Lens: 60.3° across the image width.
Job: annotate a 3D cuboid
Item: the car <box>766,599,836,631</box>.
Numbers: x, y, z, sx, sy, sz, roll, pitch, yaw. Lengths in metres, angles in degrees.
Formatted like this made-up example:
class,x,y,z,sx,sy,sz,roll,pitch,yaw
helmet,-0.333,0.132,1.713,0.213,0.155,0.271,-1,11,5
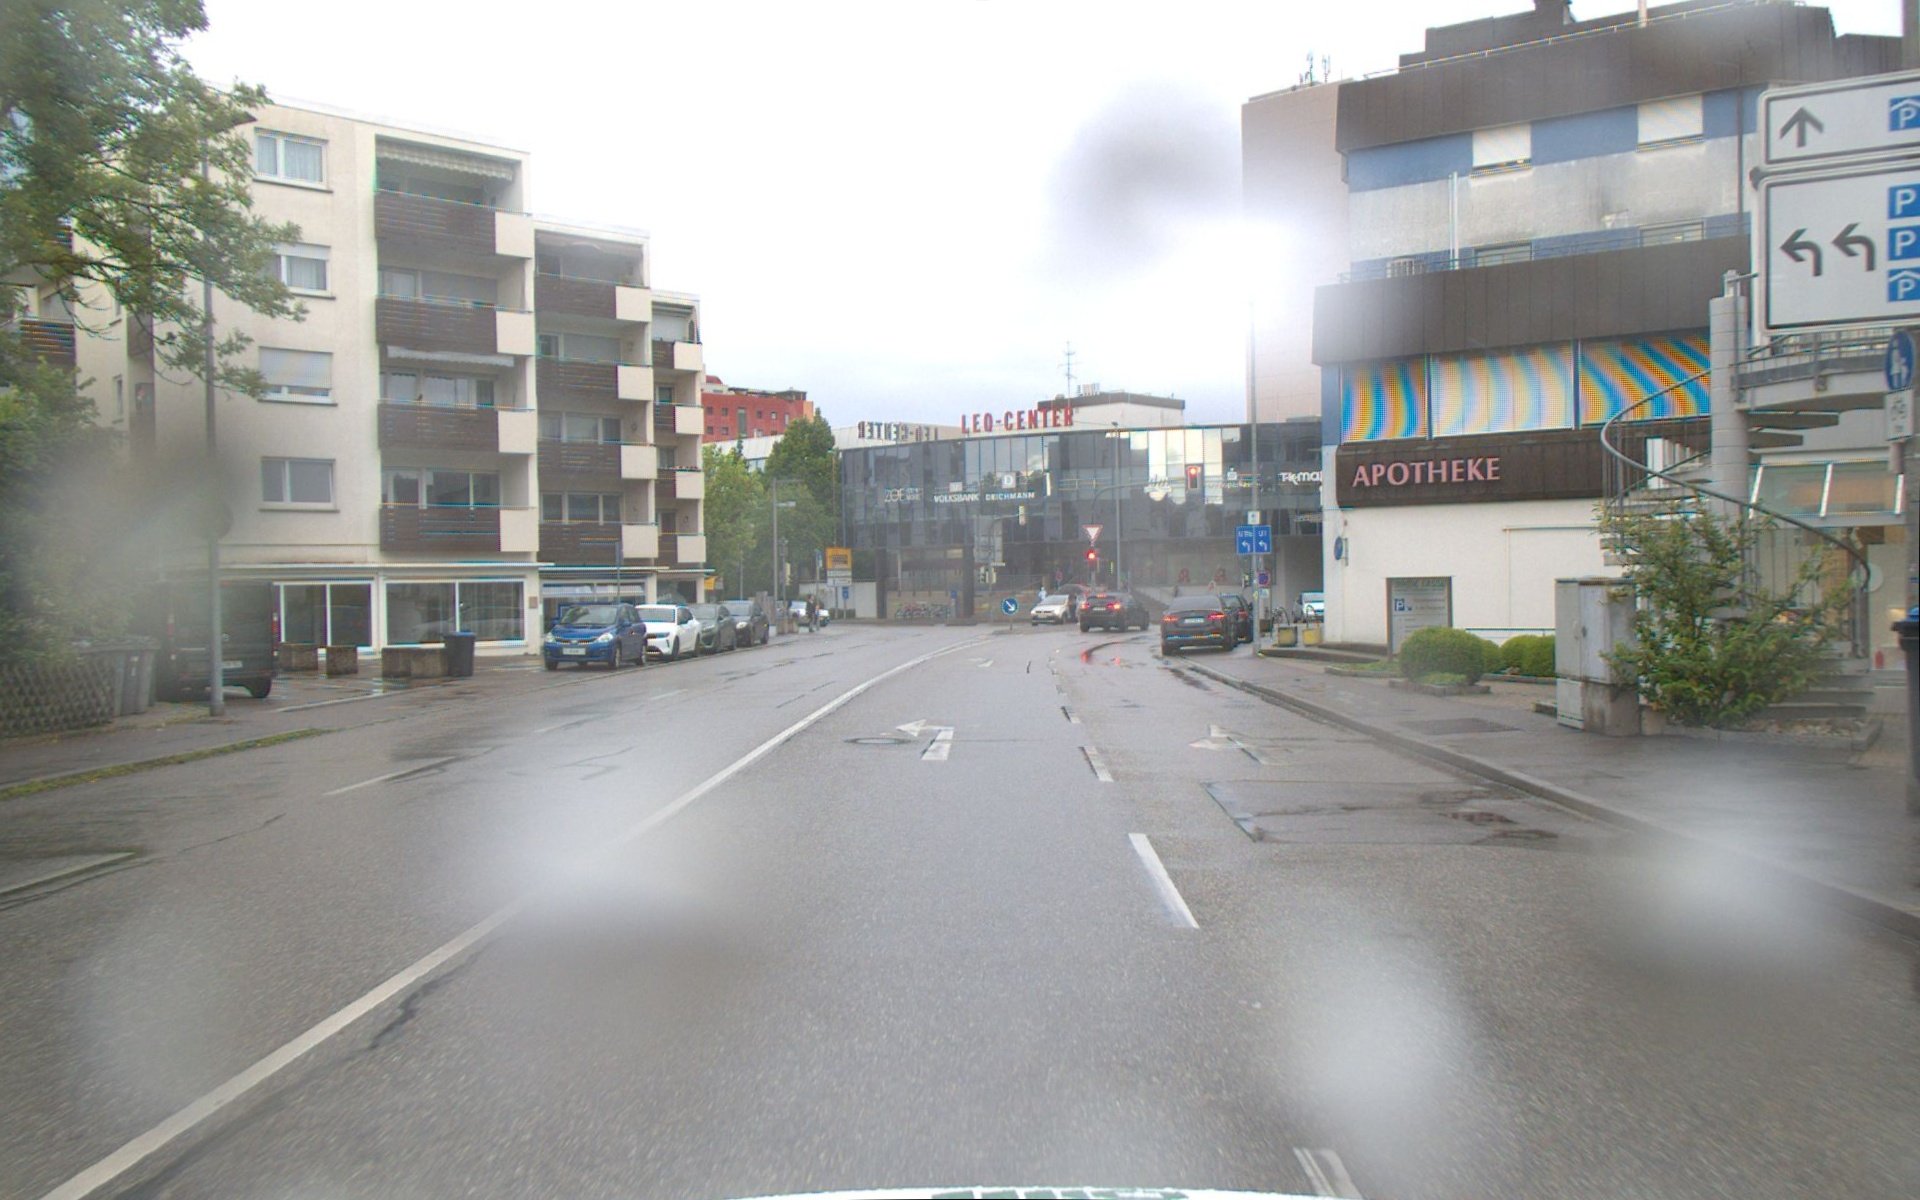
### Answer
class,x,y,z,sx,sy,sz,roll,pitch,yaw
car,-8.833,0.821,91.543,1.976,1.538,4.382,2,2,-34

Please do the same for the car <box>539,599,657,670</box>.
class,x,y,z,sx,sy,sz,roll,pitch,yaw
car,-8.511,0.774,39.218,1.617,1.547,4.326,-1,0,3

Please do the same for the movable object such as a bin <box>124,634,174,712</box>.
class,x,y,z,sx,sy,sz,roll,pitch,yaw
movable object such as a bin,-12.269,1.095,25.020,0.594,1.138,0.594,-1,0,-33

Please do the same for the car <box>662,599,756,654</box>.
class,x,y,z,sx,sy,sz,roll,pitch,yaw
car,-7.579,0.766,50.334,1.894,1.568,4.523,-1,0,3

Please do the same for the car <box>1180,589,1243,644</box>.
class,x,y,z,sx,sy,sz,roll,pitch,yaw
car,7.959,0.487,52.043,1.662,1.512,4.004,-4,0,12

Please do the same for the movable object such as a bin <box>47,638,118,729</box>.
class,x,y,z,sx,sy,sz,roll,pitch,yaw
movable object such as a bin,-11.455,1.084,21.595,0.587,1.138,0.601,-1,0,0

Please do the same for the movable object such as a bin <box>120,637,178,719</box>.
class,x,y,z,sx,sy,sz,roll,pitch,yaw
movable object such as a bin,-11.798,1.124,24.065,0.588,1.138,0.600,-1,0,-10

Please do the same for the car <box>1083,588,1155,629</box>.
class,x,y,z,sx,sy,sz,roll,pitch,yaw
car,6.042,0.297,62.436,1.767,1.444,4.001,-1,0,19

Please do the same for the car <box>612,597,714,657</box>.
class,x,y,z,sx,sy,sz,roll,pitch,yaw
car,-8.005,0.687,44.980,1.658,1.489,4.686,-1,0,3

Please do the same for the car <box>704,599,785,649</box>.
class,x,y,z,sx,sy,sz,roll,pitch,yaw
car,-7.172,0.768,55.478,1.894,1.568,4.275,-1,0,3

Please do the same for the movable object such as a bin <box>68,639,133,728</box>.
class,x,y,z,sx,sy,sz,roll,pitch,yaw
movable object such as a bin,-11.528,1.114,22.202,0.588,1.138,0.600,-1,0,-10

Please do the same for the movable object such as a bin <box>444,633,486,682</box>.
class,x,y,z,sx,sy,sz,roll,pitch,yaw
movable object such as a bin,-10.445,1.205,34.935,0.634,0.982,0.683,-2,0,3

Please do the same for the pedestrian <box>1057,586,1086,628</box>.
class,x,y,z,sx,sy,sz,roll,pitch,yaw
pedestrian,4.705,0.285,69.623,0.897,1.688,0.750,2,1,-25

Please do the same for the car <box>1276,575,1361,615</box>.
class,x,y,z,sx,sy,sz,roll,pitch,yaw
car,18.612,-0.260,86.009,1.981,2.049,3.942,-1,0,-40

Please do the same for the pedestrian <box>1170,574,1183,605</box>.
class,x,y,z,sx,sy,sz,roll,pitch,yaw
pedestrian,14.462,-0.686,110.634,0.770,2.049,0.671,-2,0,13

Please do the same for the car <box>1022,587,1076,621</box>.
class,x,y,z,sx,sy,sz,roll,pitch,yaw
car,4.301,0.172,79.260,1.786,1.464,3.844,-3,1,15

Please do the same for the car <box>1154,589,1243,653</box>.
class,x,y,z,sx,sy,sz,roll,pitch,yaw
car,6.270,0.561,43.036,1.951,1.560,4.650,0,-1,13

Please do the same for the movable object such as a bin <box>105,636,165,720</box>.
class,x,y,z,sx,sy,sz,roll,pitch,yaw
movable object such as a bin,-11.691,1.099,23.446,0.588,1.138,0.600,-1,0,-10

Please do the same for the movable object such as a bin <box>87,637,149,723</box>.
class,x,y,z,sx,sy,sz,roll,pitch,yaw
movable object such as a bin,-11.613,1.090,22.819,0.588,1.138,0.600,-1,0,-10

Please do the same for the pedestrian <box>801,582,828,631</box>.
class,x,y,z,sx,sy,sz,roll,pitch,yaw
pedestrian,-6.222,0.277,70.711,0.733,2.048,0.921,3,0,24

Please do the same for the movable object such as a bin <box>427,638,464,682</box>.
class,x,y,z,sx,sy,sz,roll,pitch,yaw
movable object such as a bin,-11.066,1.292,35.592,0.562,0.918,0.598,-2,0,3

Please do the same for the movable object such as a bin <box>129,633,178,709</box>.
class,x,y,z,sx,sy,sz,roll,pitch,yaw
movable object such as a bin,-12.588,1.096,25.809,0.594,1.138,0.594,-1,0,-33

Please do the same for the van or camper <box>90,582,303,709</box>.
class,x,y,z,sx,sy,sz,roll,pitch,yaw
van or camper,-13.435,0.693,28.919,1.983,1.958,5.139,-3,2,-41

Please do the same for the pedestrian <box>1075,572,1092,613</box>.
class,x,y,z,sx,sy,sz,roll,pitch,yaw
pedestrian,5.280,-0.320,70.560,0.597,1.688,0.672,2,1,-2
